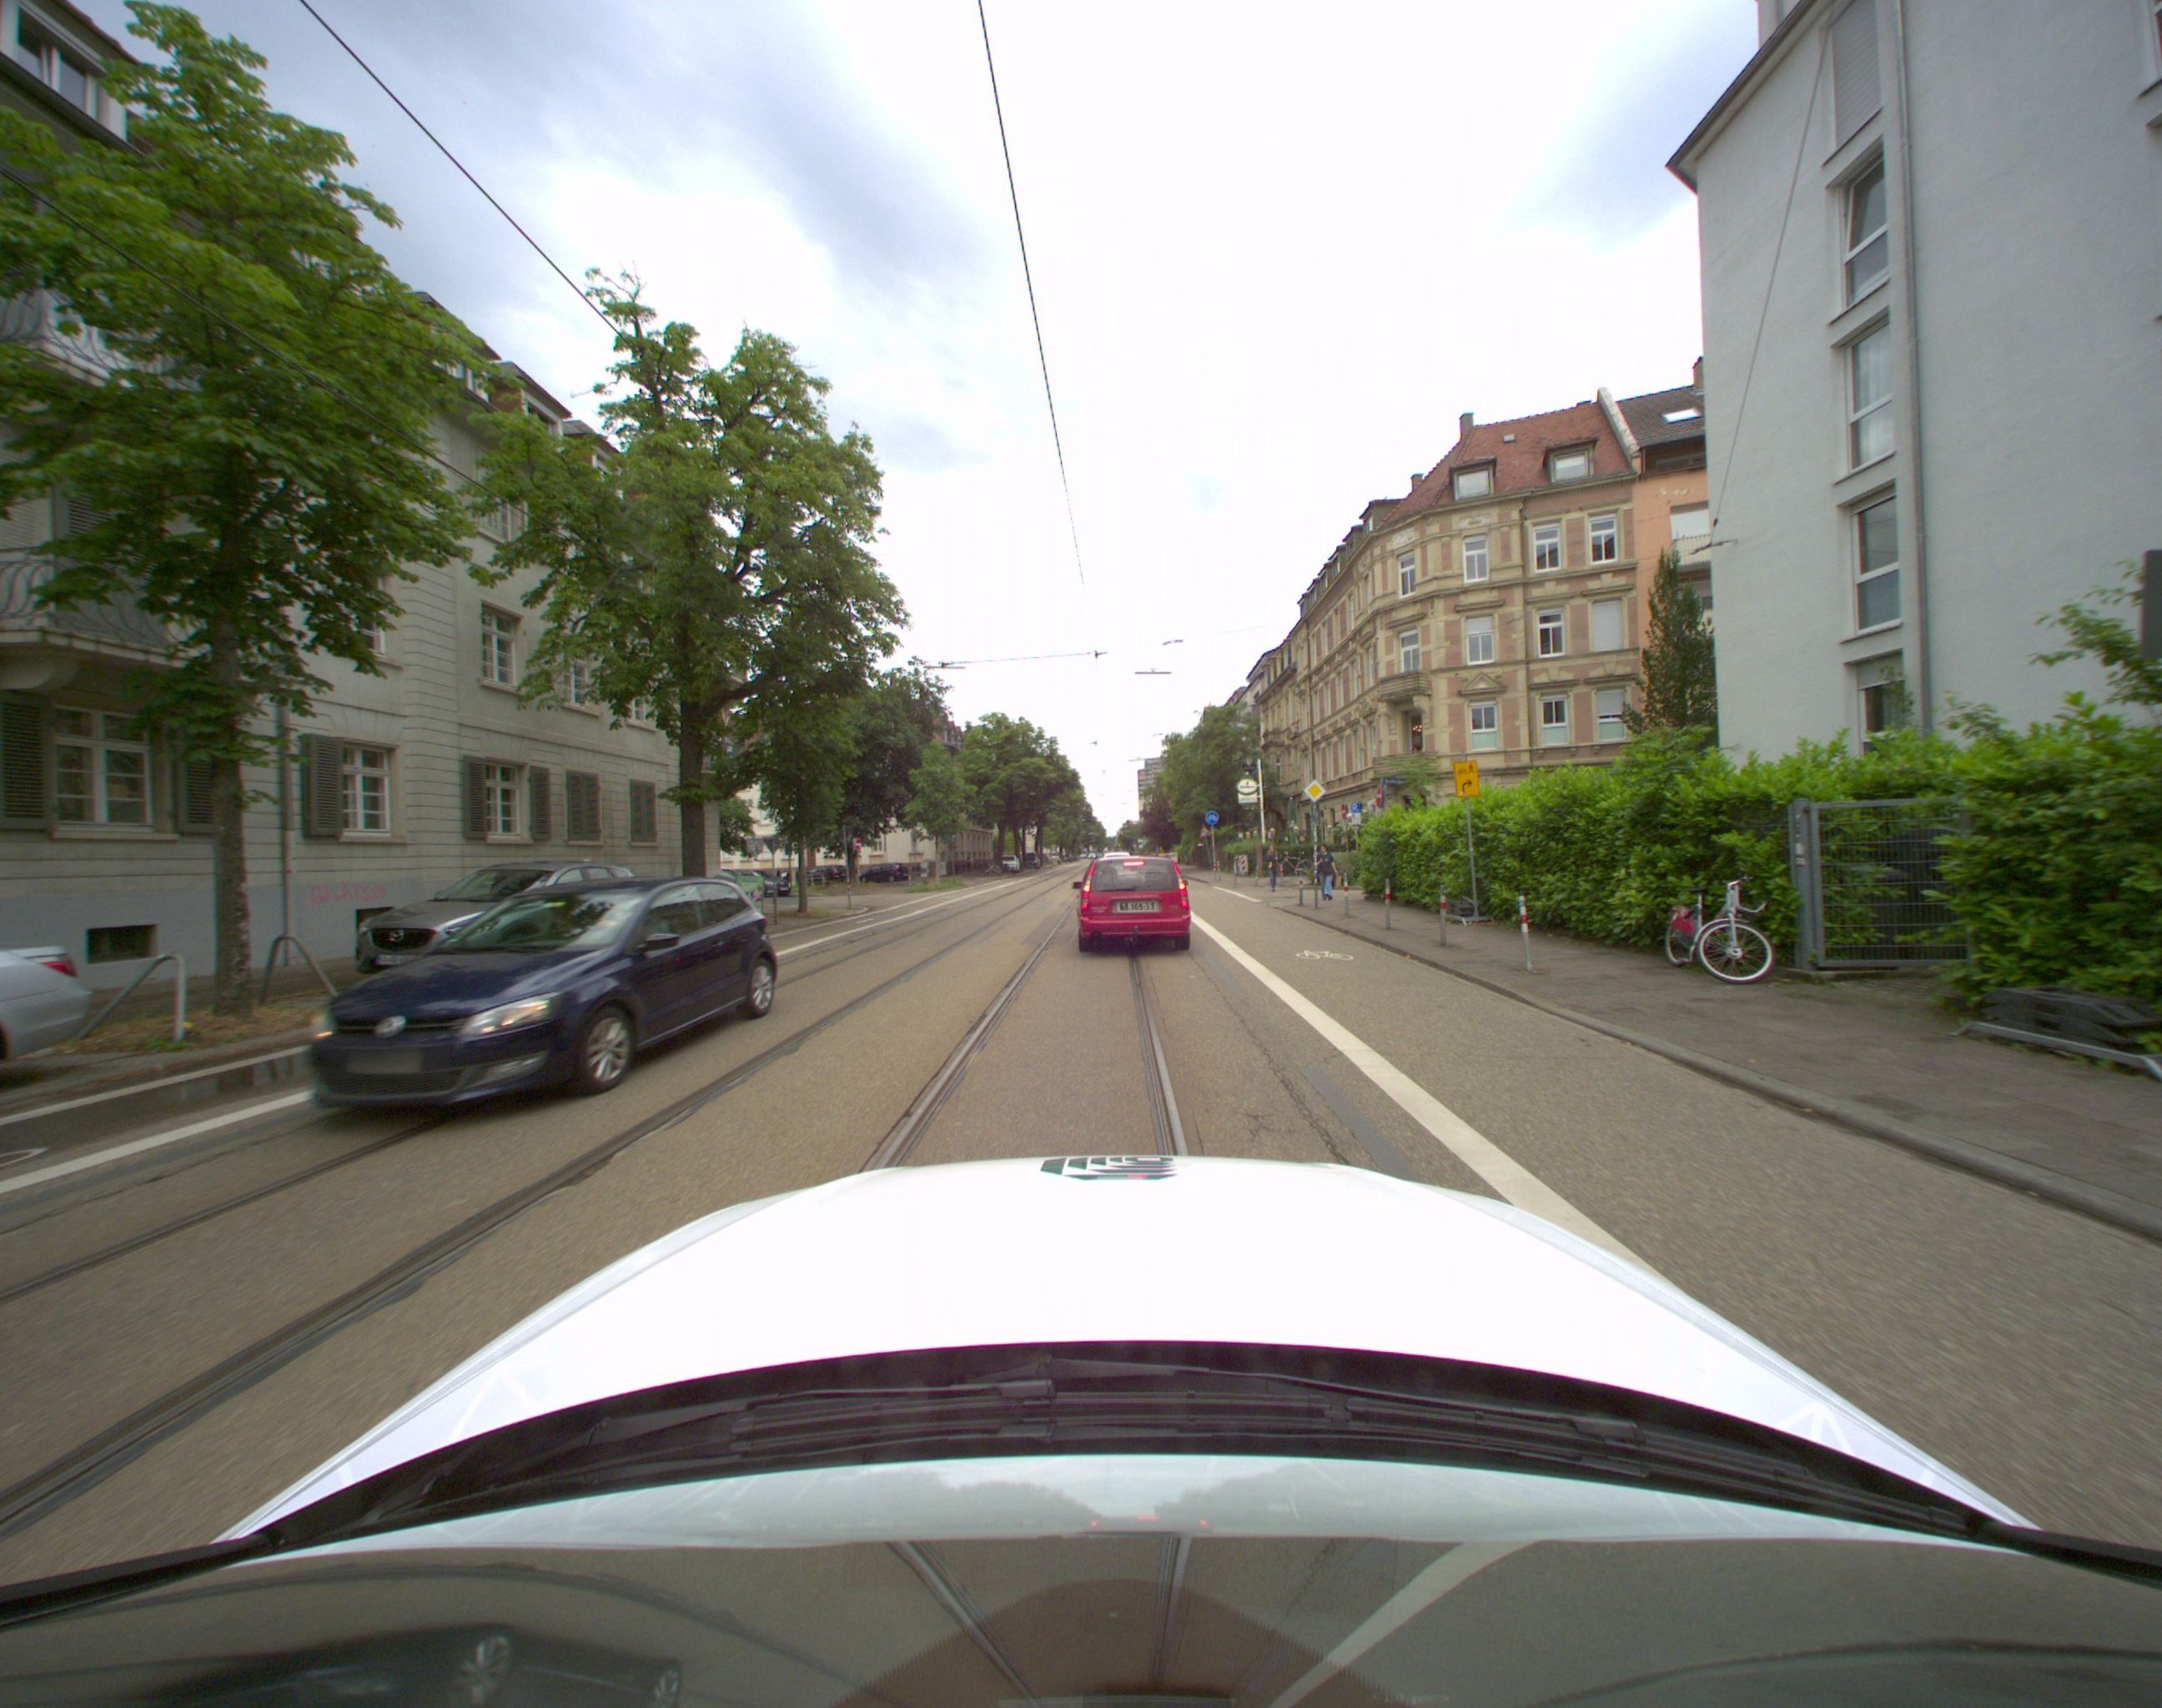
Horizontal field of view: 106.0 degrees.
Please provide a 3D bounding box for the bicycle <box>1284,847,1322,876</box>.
[{"bbox_3d":[10.199,0.362,37.453,1.593,1.277,0.515,-2,0,13],"label":"bicycle"}]

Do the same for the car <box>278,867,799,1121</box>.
[{"bbox_3d":[-3.918,0.877,6.749,1.722,1.408,3.657,-2,0,2],"label":"car"}]

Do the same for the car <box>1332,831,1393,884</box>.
[{"bbox_3d":[11.043,0.096,32.197,2.036,1.877,5.052,-2,0,17],"label":"car"}]

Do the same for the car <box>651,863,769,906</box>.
[{"bbox_3d":[-16.024,1.301,35.184,4.463,1.663,1.949,-2,0,20],"label":"car"}]

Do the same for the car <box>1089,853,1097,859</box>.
[{"bbox_3d":[3.027,0.401,203.371,1.749,1.380,4.028,-2,0,1],"label":"car"}]

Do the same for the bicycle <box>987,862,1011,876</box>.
[{"bbox_3d":[-6.715,1.241,66.971,1.915,1.121,0.624,0,0,1],"label":"bicycle"}]

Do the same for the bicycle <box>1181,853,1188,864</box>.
[{"bbox_3d":[9.425,0.397,74.239,0.477,1.045,1.532,-2,0,3],"label":"bicycle"}]

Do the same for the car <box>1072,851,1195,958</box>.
[{"bbox_3d":[0.800,0.700,13.144,1.682,1.441,3.745,-1,0,2],"label":"car"}]

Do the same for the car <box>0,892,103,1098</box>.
[{"bbox_3d":[-8.815,1.071,4.226,1.805,1.466,4.615,-1,0,1],"label":"car"}]

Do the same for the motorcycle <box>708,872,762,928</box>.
[{"bbox_3d":[-8.609,1.103,20.339,0.539,1.257,2.139,-2,0,-4],"label":"motorcycle"}]

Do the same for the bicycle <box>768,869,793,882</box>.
[{"bbox_3d":[-25.063,1.803,67.970,2.163,1.035,0.658,-2,0,29],"label":"bicycle"}]

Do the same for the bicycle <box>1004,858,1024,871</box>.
[{"bbox_3d":[-6.251,0.949,76.072,1.730,1.192,0.655,0,0,16],"label":"bicycle"}]

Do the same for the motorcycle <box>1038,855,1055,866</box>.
[{"bbox_3d":[-4.771,0.866,111.648,2.243,1.511,0.932,-2,-2,37],"label":"motorcycle"}]

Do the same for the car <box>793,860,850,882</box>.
[{"bbox_3d":[-19.635,1.292,61.632,3.896,1.464,1.716,-2,0,25],"label":"car"}]

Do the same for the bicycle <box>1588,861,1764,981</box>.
[{"bbox_3d":[6.557,0.682,9.109,0.630,1.127,1.813,-4,1,2],"label":"bicycle"}]

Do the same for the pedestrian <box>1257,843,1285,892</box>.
[{"bbox_3d":[6.733,0.469,28.857,0.866,1.656,0.912,-2,0,14],"label":"pedestrian"}]

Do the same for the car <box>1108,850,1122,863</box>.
[{"bbox_3d":[4.649,0.355,112.432,1.736,1.606,4.000,-2,0,0],"label":"car"}]

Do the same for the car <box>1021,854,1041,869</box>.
[{"bbox_3d":[-5.488,0.784,89.797,1.770,1.511,4.241,-1,0,3],"label":"car"}]

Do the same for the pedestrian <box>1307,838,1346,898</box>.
[{"bbox_3d":[6.962,0.396,23.104,0.790,1.636,0.836,-3,-1,2],"label":"pedestrian"}]

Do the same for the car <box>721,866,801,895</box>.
[{"bbox_3d":[-16.480,1.359,41.868,4.018,1.410,1.672,-1,0,31],"label":"car"}]

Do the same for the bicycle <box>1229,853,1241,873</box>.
[{"bbox_3d":[8.238,0.486,43.640,0.300,1.041,1.849,-2,0,2],"label":"bicycle"}]

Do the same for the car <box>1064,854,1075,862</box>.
[{"bbox_3d":[-2.181,0.753,156.795,1.844,1.563,3.945,-2,0,2],"label":"car"}]

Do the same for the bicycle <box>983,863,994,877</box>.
[{"bbox_3d":[-6.942,1.188,61.163,0.481,0.958,1.399,-2,0,4],"label":"bicycle"}]

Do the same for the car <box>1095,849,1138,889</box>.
[{"bbox_3d":[1.610,0.618,35.988,1.711,1.624,3.945,-2,0,4],"label":"car"}]

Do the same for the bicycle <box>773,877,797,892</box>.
[{"bbox_3d":[-19.184,1.994,52.819,1.653,0.925,0.451,-2,0,30],"label":"bicycle"}]

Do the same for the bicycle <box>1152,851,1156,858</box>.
[{"bbox_3d":[14.962,0.038,166.961,0.549,1.400,1.735,-2,0,2],"label":"bicycle"}]

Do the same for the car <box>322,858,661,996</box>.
[{"bbox_3d":[-8.498,0.924,12.345,1.830,1.661,4.297,0,0,3],"label":"car"}]

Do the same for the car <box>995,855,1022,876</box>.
[{"bbox_3d":[-6.246,0.976,70.654,1.890,1.655,4.226,-2,0,1],"label":"car"}]

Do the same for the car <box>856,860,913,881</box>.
[{"bbox_3d":[-14.224,1.186,58.955,3.714,1.307,1.751,-2,0,25],"label":"car"}]

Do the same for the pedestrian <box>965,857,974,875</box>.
[{"bbox_3d":[-9.503,1.035,69.285,0.562,1.467,0.723,-2,0,2],"label":"pedestrian"}]
